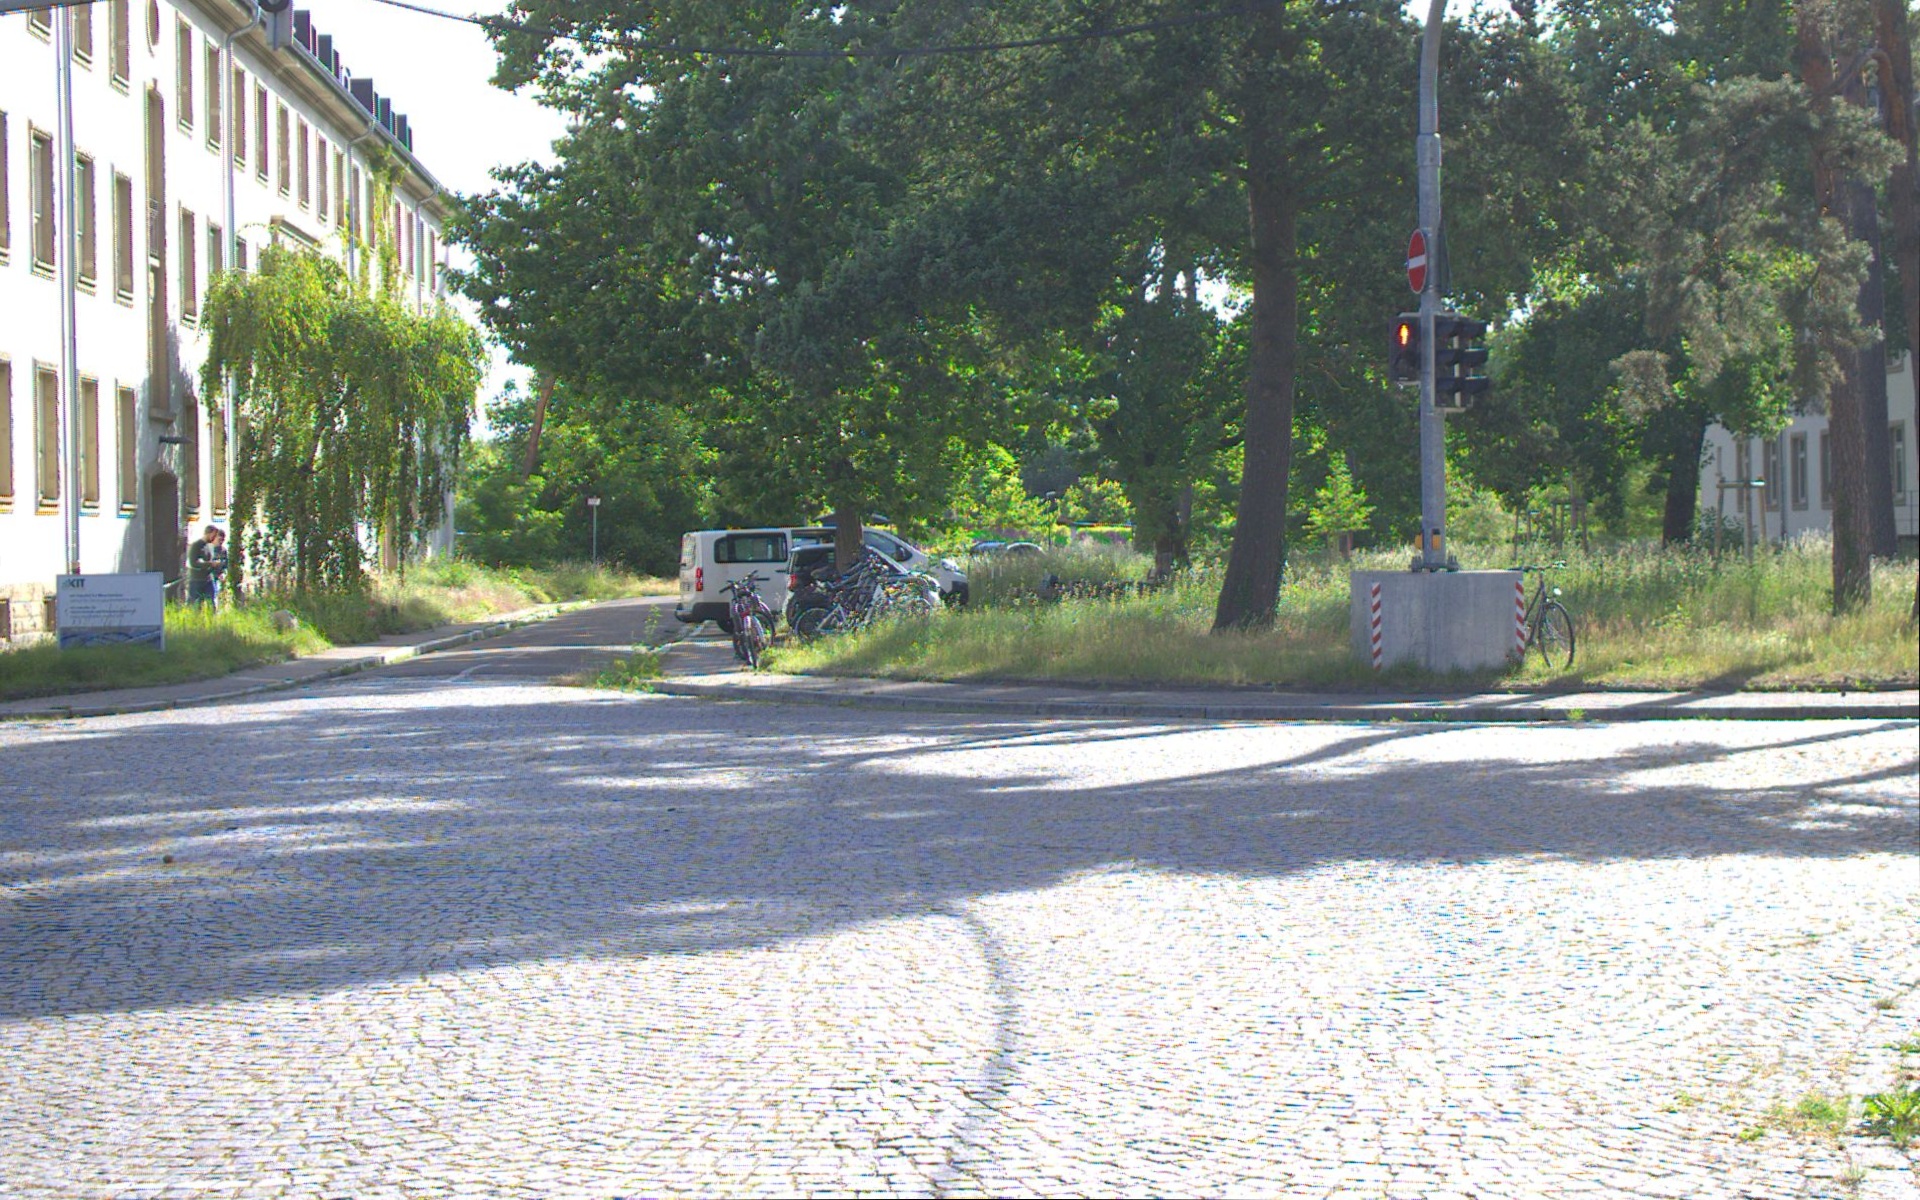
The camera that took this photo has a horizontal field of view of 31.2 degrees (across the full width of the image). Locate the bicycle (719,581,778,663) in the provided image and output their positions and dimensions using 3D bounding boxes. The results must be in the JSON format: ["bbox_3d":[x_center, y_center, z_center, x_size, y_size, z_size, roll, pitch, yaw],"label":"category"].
[{"bbox_3d":[-2.634,0.264,42.735,0.695,0.968,1.861,0,1,-4],"label":"bicycle"}]

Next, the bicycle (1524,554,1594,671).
[{"bbox_3d":[5.641,0.110,32.416,0.466,1.076,1.174,-1,0,1],"label":"bicycle"}]

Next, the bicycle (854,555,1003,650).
[{"bbox_3d":[-0.424,0.028,45.849,1.940,1.231,0.485,-1,1,-5],"label":"bicycle"}]

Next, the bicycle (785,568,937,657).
[{"bbox_3d":[-1.309,0.162,45.118,1.940,1.125,0.750,-1,1,-5],"label":"bicycle"}]

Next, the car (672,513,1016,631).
[{"bbox_3d":[-2.138,-0.525,62.242,5.929,2.007,2.476,-1,1,-9],"label":"car"}]

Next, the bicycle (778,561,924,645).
[{"bbox_3d":[-1.507,0.037,47.420,1.940,1.125,0.648,-1,1,-7],"label":"bicycle"}]

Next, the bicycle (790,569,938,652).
[{"bbox_3d":[-1.243,0.131,44.323,1.854,1.027,0.750,-1,1,-5],"label":"bicycle"}]

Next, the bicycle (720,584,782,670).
[{"bbox_3d":[-2.490,0.306,40.802,0.695,0.968,1.861,0,1,-4],"label":"bicycle"}]

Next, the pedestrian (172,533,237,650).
[{"bbox_3d":[-11.859,-0.131,53.980,0.812,1.811,0.555,-1,1,9],"label":"pedestrian"}]

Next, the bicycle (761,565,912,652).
[{"bbox_3d":[-1.655,0.101,46.324,1.940,1.125,0.648,-1,1,-29],"label":"bicycle"}]

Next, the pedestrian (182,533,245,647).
[{"bbox_3d":[-11.966,-0.170,55.091,0.767,1.811,0.682,-1,1,9],"label":"pedestrian"}]

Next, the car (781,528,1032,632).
[{"bbox_3d":[-0.928,-0.354,58.108,3.986,1.678,1.848,-1,1,-10],"label":"car"}]
